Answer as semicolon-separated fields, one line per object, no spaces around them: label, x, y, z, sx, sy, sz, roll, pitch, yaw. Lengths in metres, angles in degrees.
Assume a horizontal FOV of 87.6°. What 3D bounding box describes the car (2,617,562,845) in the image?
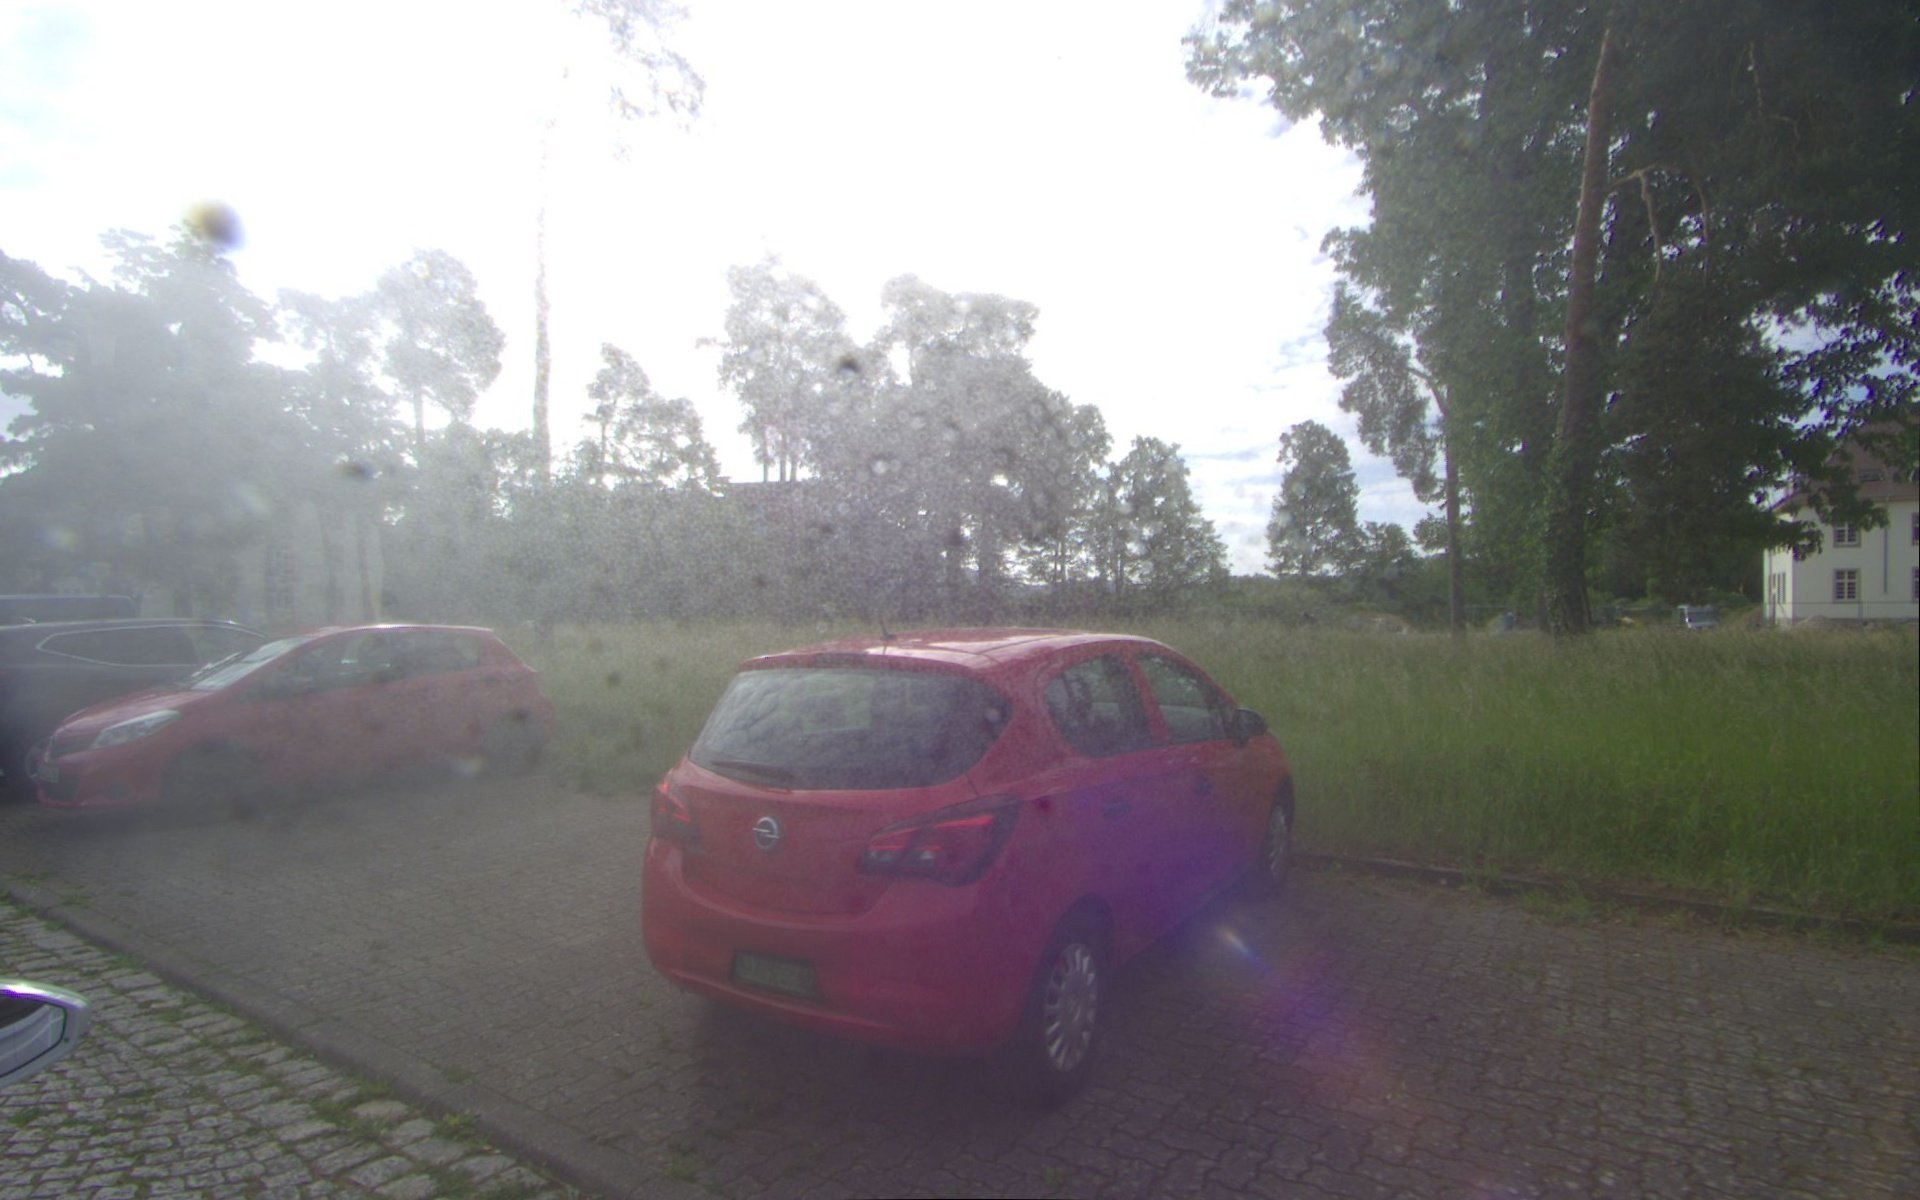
car;-5.770;0.947;8.981;1.727;1.479;3.782;-1;0;33

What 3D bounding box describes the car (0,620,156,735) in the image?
car;-13.431;1.063;13.532;1.591;1.469;3.665;-1;0;31

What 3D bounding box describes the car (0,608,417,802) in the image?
car;-8.049;0.918;10.273;1.725;1.573;4.021;-1;0;31

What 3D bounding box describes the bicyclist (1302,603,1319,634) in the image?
bicyclist;19.540;1.015;55.775;0.762;1.717;0.723;0;-1;34

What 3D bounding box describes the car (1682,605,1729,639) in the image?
car;55.183;1.650;74.169;1.886;2.378;4.583;0;-2;25

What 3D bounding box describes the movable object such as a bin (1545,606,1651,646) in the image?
movable object such as a bin;44.614;1.851;70.178;2.144;2.689;5.949;1;-2;-29

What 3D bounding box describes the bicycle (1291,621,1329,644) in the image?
bicycle;19.487;1.803;55.751;1.906;1.244;0.721;-1;-1;35

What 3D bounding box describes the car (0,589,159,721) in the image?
car;-15.419;0.843;15.163;1.903;1.980;4.744;-1;0;32

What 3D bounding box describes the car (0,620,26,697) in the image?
car;-19.661;1.142;18.185;1.502;1.469;3.664;-1;0;32

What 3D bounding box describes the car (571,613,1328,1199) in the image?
car;0.380;0.848;4.712;1.754;1.479;3.816;-1;0;33
